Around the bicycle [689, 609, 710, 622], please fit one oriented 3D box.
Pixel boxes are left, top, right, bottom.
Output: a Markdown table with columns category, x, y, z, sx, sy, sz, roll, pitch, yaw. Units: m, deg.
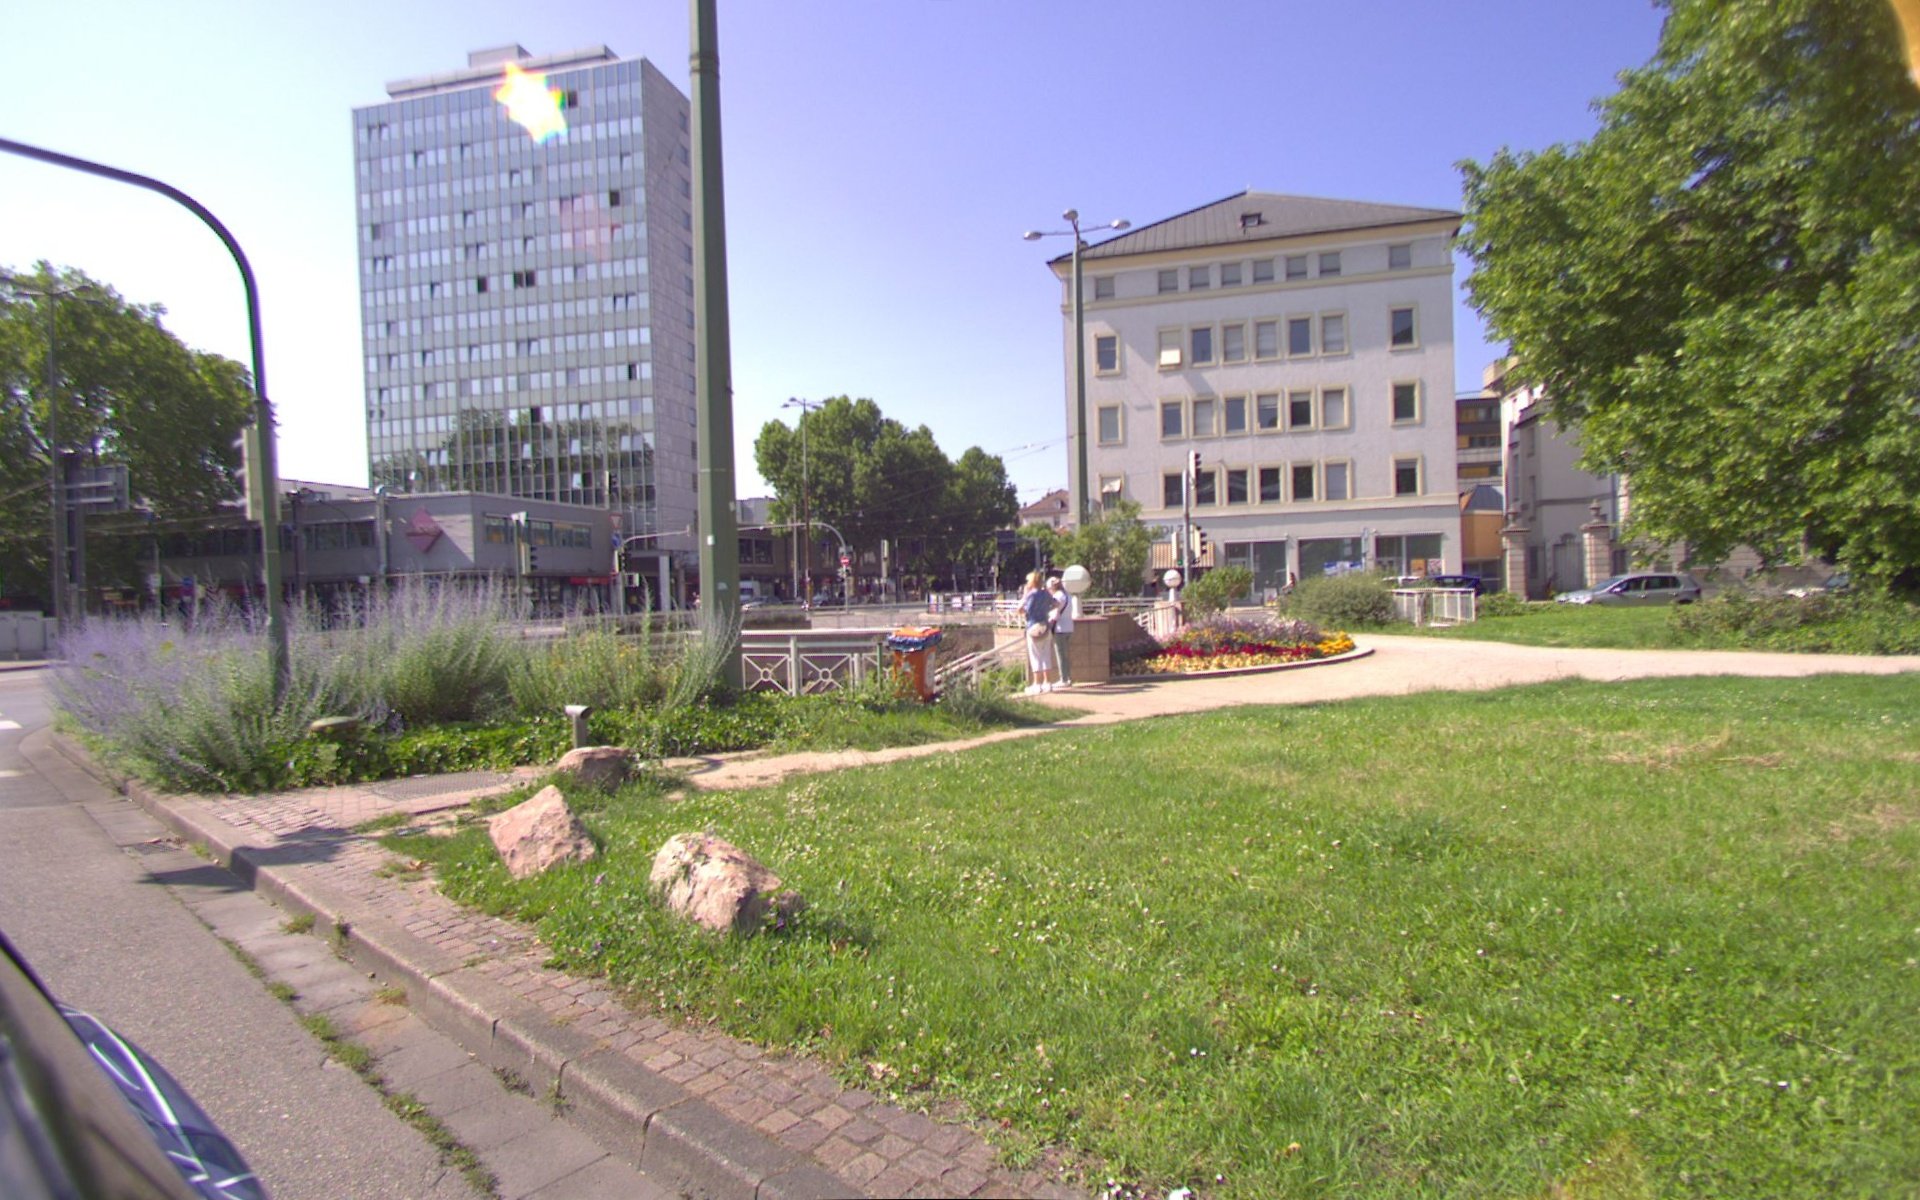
| category | x | y | z | sx | sy | sz | roll | pitch | yaw |
| --- | --- | --- | --- | --- | --- | --- | --- | --- | --- |
| bicycle | -20.169 | 1.176 | 78.245 | 0.589 | 0.889 | 1.796 | 0 | 1 | 23 |

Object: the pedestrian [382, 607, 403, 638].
| category | x | y | z | sx | sy | sz | roll | pitch | yaw |
| --- | --- | --- | --- | --- | --- | --- | --- | --- | --- |
| pedestrian | -34.175 | 1.344 | 60.904 | 0.727 | 1.850 | 0.820 | -1 | 0 | 12 |

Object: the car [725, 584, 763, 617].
| category | x | y | z | sx | sy | sz | roll | pitch | yaw |
| --- | --- | --- | --- | --- | --- | --- | --- | --- | --- |
| car | -20.006 | 0.024 | 93.907 | 1.729 | 2.938 | 4.621 | -2 | 0 | 10 |

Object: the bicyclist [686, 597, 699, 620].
| category | x | y | z | sx | sy | sz | roll | pitch | yaw |
| --- | --- | --- | --- | --- | --- | --- | --- | --- | --- |
| bicyclist | -21.180 | 0.672 | 80.251 | 0.694 | 1.781 | 0.677 | 0 | 1 | 30 |

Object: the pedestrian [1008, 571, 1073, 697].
| category | x | y | z | sx | sy | sz | roll | pitch | yaw |
| --- | --- | --- | --- | --- | --- | --- | --- | --- | --- |
| pedestrian | 1.071 | 0.439 | 13.374 | 0.596 | 1.605 | 0.686 | -2 | 0 | 25 |

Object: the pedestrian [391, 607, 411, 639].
| category | x | y | z | sx | sy | sz | roll | pitch | yaw |
| --- | --- | --- | --- | --- | --- | --- | --- | --- | --- |
| pedestrian | -33.422 | 1.361 | 60.533 | 0.664 | 1.850 | 0.820 | -1 | 0 | 12 |

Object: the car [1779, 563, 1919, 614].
| category | x | y | z | sx | sy | sz | roll | pitch | yaw |
| --- | --- | --- | --- | --- | --- | --- | --- | --- | --- |
| car | 27.725 | -0.360 | 31.108 | 3.549 | 1.389 | 1.605 | -2 | 1 | 13 |

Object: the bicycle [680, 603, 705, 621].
| category | x | y | z | sx | sy | sz | roll | pitch | yaw |
| --- | --- | --- | --- | --- | --- | --- | --- | --- | --- |
| bicycle | -21.200 | 0.933 | 80.213 | 0.713 | 1.309 | 1.920 | 0 | 1 | 30 |

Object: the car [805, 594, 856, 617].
| category | x | y | z | sx | sy | sz | roll | pitch | yaw |
| --- | --- | --- | --- | --- | --- | --- | --- | --- | --- |
| car | -9.660 | 0.424 | 75.620 | 1.872 | 1.545 | 4.043 | -2 | 1 | 26 |

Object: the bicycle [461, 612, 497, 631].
| category | x | y | z | sx | sy | sz | roll | pitch | yaw |
| --- | --- | --- | --- | --- | --- | --- | --- | --- | --- |
| bicycle | -30.519 | 1.388 | 64.194 | 0.577 | 1.110 | 1.941 | -2 | 1 | 43 |

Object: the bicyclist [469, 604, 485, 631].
| category | x | y | z | sx | sy | sz | roll | pitch | yaw |
| --- | --- | --- | --- | --- | --- | --- | --- | --- | --- |
| bicyclist | -30.595 | 1.107 | 64.121 | 0.584 | 1.700 | 0.674 | -2 | 0 | 43 |

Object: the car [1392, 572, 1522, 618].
| category | x | y | z | sx | sy | sz | roll | pitch | yaw |
| --- | --- | --- | --- | --- | --- | --- | --- | --- | --- |
| car | 16.534 | -0.159 | 33.830 | 3.549 | 1.356 | 1.605 | -2 | 1 | 13 |

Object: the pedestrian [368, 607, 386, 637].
| category | x | y | z | sx | sy | sz | roll | pitch | yaw |
| --- | --- | --- | --- | --- | --- | --- | --- | --- | --- |
| pedestrian | -36.048 | 1.340 | 62.577 | 0.810 | 1.820 | 0.672 | -1 | 0 | -39 |

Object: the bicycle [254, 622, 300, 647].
| category | x | y | z | sx | sy | sz | roll | pitch | yaw |
| --- | --- | --- | --- | --- | --- | --- | --- | --- | --- |
| bicycle | -33.578 | 1.679 | 49.782 | 0.521 | 1.175 | 1.792 | -1 | 0 | 40 |

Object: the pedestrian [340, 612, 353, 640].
| category | x | y | z | sx | sy | sz | roll | pitch | yaw |
| --- | --- | --- | --- | --- | --- | --- | --- | --- | --- |
| pedestrian | -37.258 | 1.558 | 61.448 | 0.589 | 1.650 | 0.567 | -1 | 0 | -22 |

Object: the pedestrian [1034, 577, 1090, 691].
| category | x | y | z | sx | sy | sz | roll | pitch | yaw |
| --- | --- | --- | --- | --- | --- | --- | --- | --- | --- |
| pedestrian | 1.427 | 0.457 | 14.052 | 0.472 | 1.521 | 0.844 | -2 | 0 | 25 |

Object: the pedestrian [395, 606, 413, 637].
| category | x | y | z | sx | sy | sz | roll | pitch | yaw |
| --- | --- | --- | --- | --- | --- | --- | --- | --- | --- |
| pedestrian | -34.299 | 1.313 | 62.411 | 0.671 | 1.850 | 0.812 | -1 | 0 | 44 |

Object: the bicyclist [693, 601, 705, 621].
| category | x | y | z | sx | sy | sz | roll | pitch | yaw |
| --- | --- | --- | --- | --- | --- | --- | --- | --- | --- |
| bicyclist | -20.173 | 0.854 | 78.232 | 0.579 | 1.538 | 0.679 | 0 | 1 | 24 |

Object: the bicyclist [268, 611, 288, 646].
| category | x | y | z | sx | sy | sz | roll | pitch | yaw |
| --- | --- | --- | --- | --- | --- | --- | --- | --- | --- |
| bicyclist | -33.565 | 1.404 | 49.787 | 0.521 | 1.719 | 0.675 | -1 | 0 | 40 |

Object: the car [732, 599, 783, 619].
| category | x | y | z | sx | sy | sz | roll | pitch | yaw |
| --- | --- | --- | --- | --- | --- | --- | --- | --- | --- |
| car | -15.954 | 0.694 | 79.949 | 1.872 | 1.471 | 4.128 | -2 | 1 | 26 |

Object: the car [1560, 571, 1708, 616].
| category | x | y | z | sx | sy | sz | roll | pitch | yaw |
| --- | --- | --- | --- | --- | --- | --- | --- | --- | --- |
| car | 21.462 | -0.210 | 32.350 | 3.549 | 1.278 | 1.605 | -2 | 1 | 13 |
